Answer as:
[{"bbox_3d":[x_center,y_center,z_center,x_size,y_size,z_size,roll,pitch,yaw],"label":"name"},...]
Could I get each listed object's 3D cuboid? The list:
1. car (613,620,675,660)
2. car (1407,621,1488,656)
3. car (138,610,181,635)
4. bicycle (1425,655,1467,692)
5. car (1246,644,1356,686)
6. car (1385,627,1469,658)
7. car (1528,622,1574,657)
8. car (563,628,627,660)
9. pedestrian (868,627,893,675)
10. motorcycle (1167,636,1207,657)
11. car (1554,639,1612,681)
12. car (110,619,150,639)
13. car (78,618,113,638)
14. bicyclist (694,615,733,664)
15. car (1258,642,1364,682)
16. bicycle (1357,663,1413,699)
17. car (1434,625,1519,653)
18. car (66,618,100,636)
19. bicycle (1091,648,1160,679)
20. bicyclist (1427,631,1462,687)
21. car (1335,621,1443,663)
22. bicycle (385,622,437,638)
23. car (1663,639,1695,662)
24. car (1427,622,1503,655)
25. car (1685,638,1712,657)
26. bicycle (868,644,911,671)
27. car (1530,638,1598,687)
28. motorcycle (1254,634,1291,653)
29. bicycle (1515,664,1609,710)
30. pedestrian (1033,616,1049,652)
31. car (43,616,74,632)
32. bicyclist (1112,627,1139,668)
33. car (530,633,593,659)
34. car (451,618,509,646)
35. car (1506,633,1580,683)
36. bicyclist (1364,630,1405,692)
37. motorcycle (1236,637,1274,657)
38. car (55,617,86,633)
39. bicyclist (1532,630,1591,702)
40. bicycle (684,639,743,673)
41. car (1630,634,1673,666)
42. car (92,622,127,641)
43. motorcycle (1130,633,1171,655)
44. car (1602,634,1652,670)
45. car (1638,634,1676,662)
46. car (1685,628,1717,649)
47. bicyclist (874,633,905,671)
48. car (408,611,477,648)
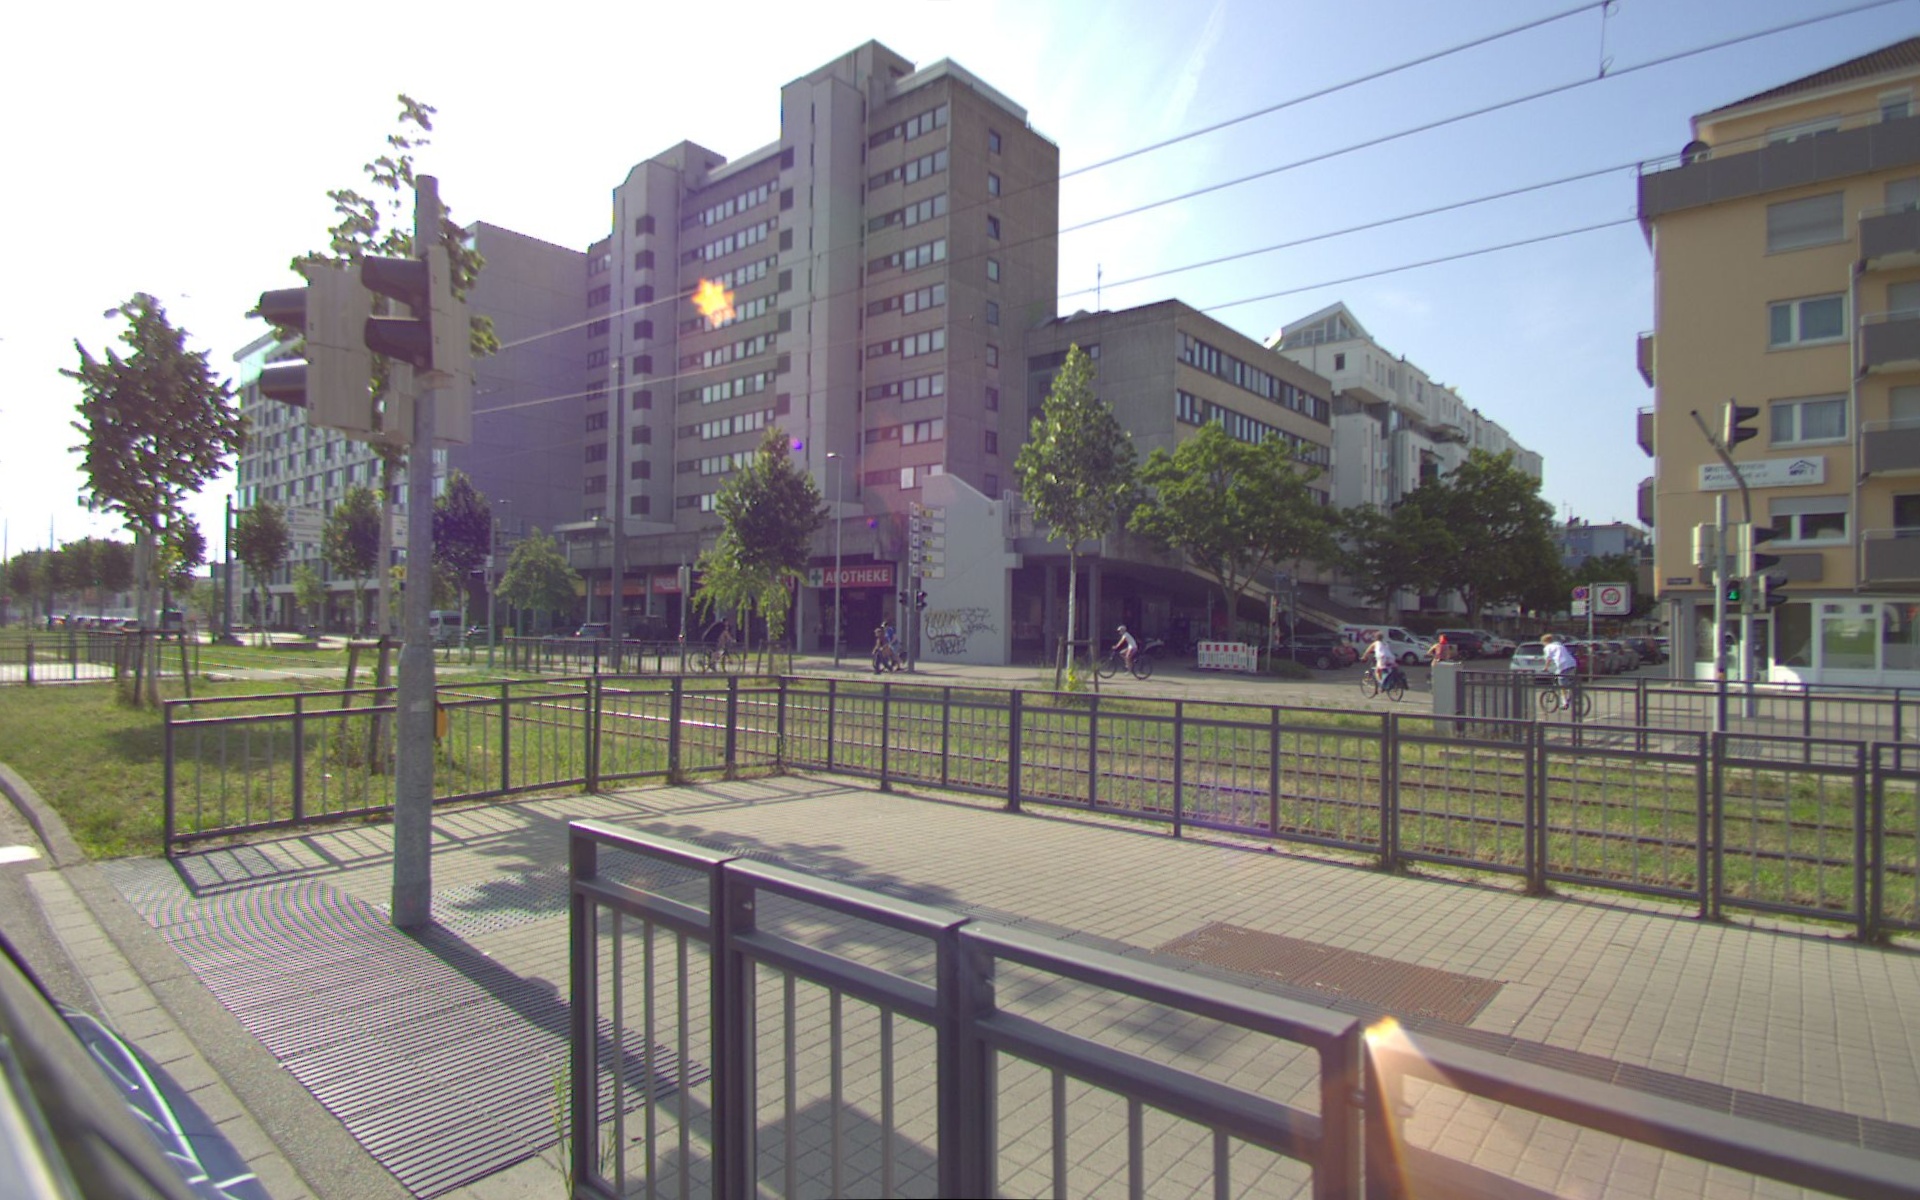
[{"bbox_3d":[-16.459,2.061,52.870,1.854,1.983,4.110,1,-2,1],"label":"car"},{"bbox_3d":[29.205,2.280,60.668,3.998,2.029,1.973,-1,-2,41],"label":"car"},{"bbox_3d":[-74.089,2.121,93.660,5.330,2.256,2.025,-1,-2,40],"label":"car"},{"bbox_3d":[14.544,2.189,30.366,0.894,0.972,2.976,0,-2,21],"label":"bicycle"},{"bbox_3d":[15.409,2.904,45.791,4.374,1.640,1.891,0,0,38],"label":"car"},{"bbox_3d":[26.684,2.402,57.895,3.998,1.630,1.973,-1,-2,41],"label":"car"},{"bbox_3d":[35.882,2.379,61.396,1.810,2.029,3.947,-1,-2,39],"label":"car"},{"bbox_3d":[-19.596,2.325,54.503,1.854,1.618,4.110,1,-2,1],"label":"car"},{"bbox_3d":[-2.873,1.836,36.600,0.646,1.703,0.651,-1,-2,44],"label":"pedestrian"},{"bbox_3d":[11.456,2.328,51.125,1.945,1.025,0.488,-1,-2,41],"label":"motorcycle"},{"bbox_3d":[25.935,2.462,42.080,1.812,1.616,3.905,-1,-2,35],"label":"car"},{"bbox_3d":[-62.552,2.166,76.243,4.000,1.492,1.787,-1,-2,43],"label":"car"},{"bbox_3d":[-73.160,2.361,85.646,4.000,1.586,1.787,-1,-2,43],"label":"car"},{"bbox_3d":[-7.348,1.176,30.166,0.957,1.406,0.548,4,-5,-29],"label":"bicyclist"},{"bbox_3d":[16.585,2.880,47.918,4.374,1.640,1.891,0,0,38],"label":"car"},{"bbox_3d":[10.614,2.011,25.335,0.621,0.799,2.001,0,-2,3],"label":"bicycle"},{"bbox_3d":[34.502,2.581,67.674,4.768,1.833,1.973,-1,-2,41],"label":"car"},{"bbox_3d":[-77.318,2.391,89.209,4.000,1.586,1.787,-1,-2,43],"label":"car"},{"bbox_3d":[5.711,2.174,34.959,2.319,1.007,0.706,0,-2,9],"label":"bicycle"},{"bbox_3d":[14.633,1.766,30.608,0.886,1.641,0.886,0,-2,22],"label":"bicyclist"},{"bbox_3d":[22.382,2.156,52.922,4.830,1.983,1.973,0,-2,41],"label":"car"},{"bbox_3d":[-48.450,2.669,89.345,3.937,1.377,1.128,2,-2,-40],"label":"bicycle"},{"bbox_3d":[52.483,3.652,73.881,1.812,1.616,3.904,-1,-2,36],"label":"car"},{"bbox_3d":[32.124,2.437,64.448,3.998,2.029,1.973,-1,-2,41],"label":"car"},{"bbox_3d":[63.247,4.056,86.716,1.812,1.616,3.904,-1,-2,36],"label":"car"},{"bbox_3d":[-2.719,2.202,39.153,1.643,0.998,0.686,2,-3,-45],"label":"bicycle"},{"bbox_3d":[22.612,2.303,37.846,1.771,1.701,3.752,-1,-2,37],"label":"car"},{"bbox_3d":[17.422,2.425,56.469,1.945,1.025,0.549,-1,-2,41],"label":"motorcycle"},{"bbox_3d":[12.692,1.817,21.395,0.708,0.804,1.609,-1,0,-21],"label":"bicycle"},{"bbox_3d":[4.138,1.725,51.632,0.622,1.790,0.693,-1,-2,28],"label":"pedestrian"},{"bbox_3d":[-88.145,2.301,98.962,3.998,1.536,1.764,-1,-2,41],"label":"car"},{"bbox_3d":[5.721,1.660,35.046,0.903,1.396,0.701,0,-4,8],"label":"bicyclist"},{"bbox_3d":[-22.319,2.552,56.820,1.854,1.253,4.110,-1,0,1],"label":"car"},{"bbox_3d":[-29.831,1.937,63.010,2.070,1.594,4.005,-1,0,-6],"label":"car"},{"bbox_3d":[19.962,1.976,34.608,1.706,1.596,3.589,-4,-4,37],"label":"car"},{"bbox_3d":[10.615,1.519,25.327,0.612,1.511,0.985,0,-2,3],"label":"bicyclist"},{"bbox_3d":[15.750,2.504,54.054,1.945,1.025,0.549,-1,-2,41],"label":"motorcycle"},{"bbox_3d":[-83.064,2.312,94.494,4.000,1.486,1.787,-1,-2,43],"label":"car"},{"bbox_3d":[12.692,1.376,21.372,0.676,1.451,0.808,-1,0,-21],"label":"bicyclist"},{"bbox_3d":[-7.337,1.685,30.135,1.585,0.942,0.559,4,-5,-29],"label":"bicycle"},{"bbox_3d":[37.086,2.633,54.253,1.812,1.616,3.904,-1,-2,36],"label":"car"},{"bbox_3d":[-68.402,2.511,81.387,3.641,1.498,1.722,-1,-2,43],"label":"car"},{"bbox_3d":[9.024,2.088,47.945,1.945,1.025,0.488,-1,-2,41],"label":"motorcycle"},{"bbox_3d":[31.490,2.415,47.769,1.812,1.616,3.904,-1,-2,36],"label":"car"},{"bbox_3d":[42.103,2.862,61.084,1.812,1.616,3.904,-1,-2,36],"label":"car"},{"bbox_3d":[60.940,3.170,83.235,1.997,1.649,3.949,-1,-2,38],"label":"car"},{"bbox_3d":[-2.724,1.990,39.150,1.009,1.451,0.686,2,-3,-44],"label":"bicyclist"},{"bbox_3d":[-34.606,1.968,67.847,1.859,2.326,5.407,1,-2,0],"label":"car"}]
